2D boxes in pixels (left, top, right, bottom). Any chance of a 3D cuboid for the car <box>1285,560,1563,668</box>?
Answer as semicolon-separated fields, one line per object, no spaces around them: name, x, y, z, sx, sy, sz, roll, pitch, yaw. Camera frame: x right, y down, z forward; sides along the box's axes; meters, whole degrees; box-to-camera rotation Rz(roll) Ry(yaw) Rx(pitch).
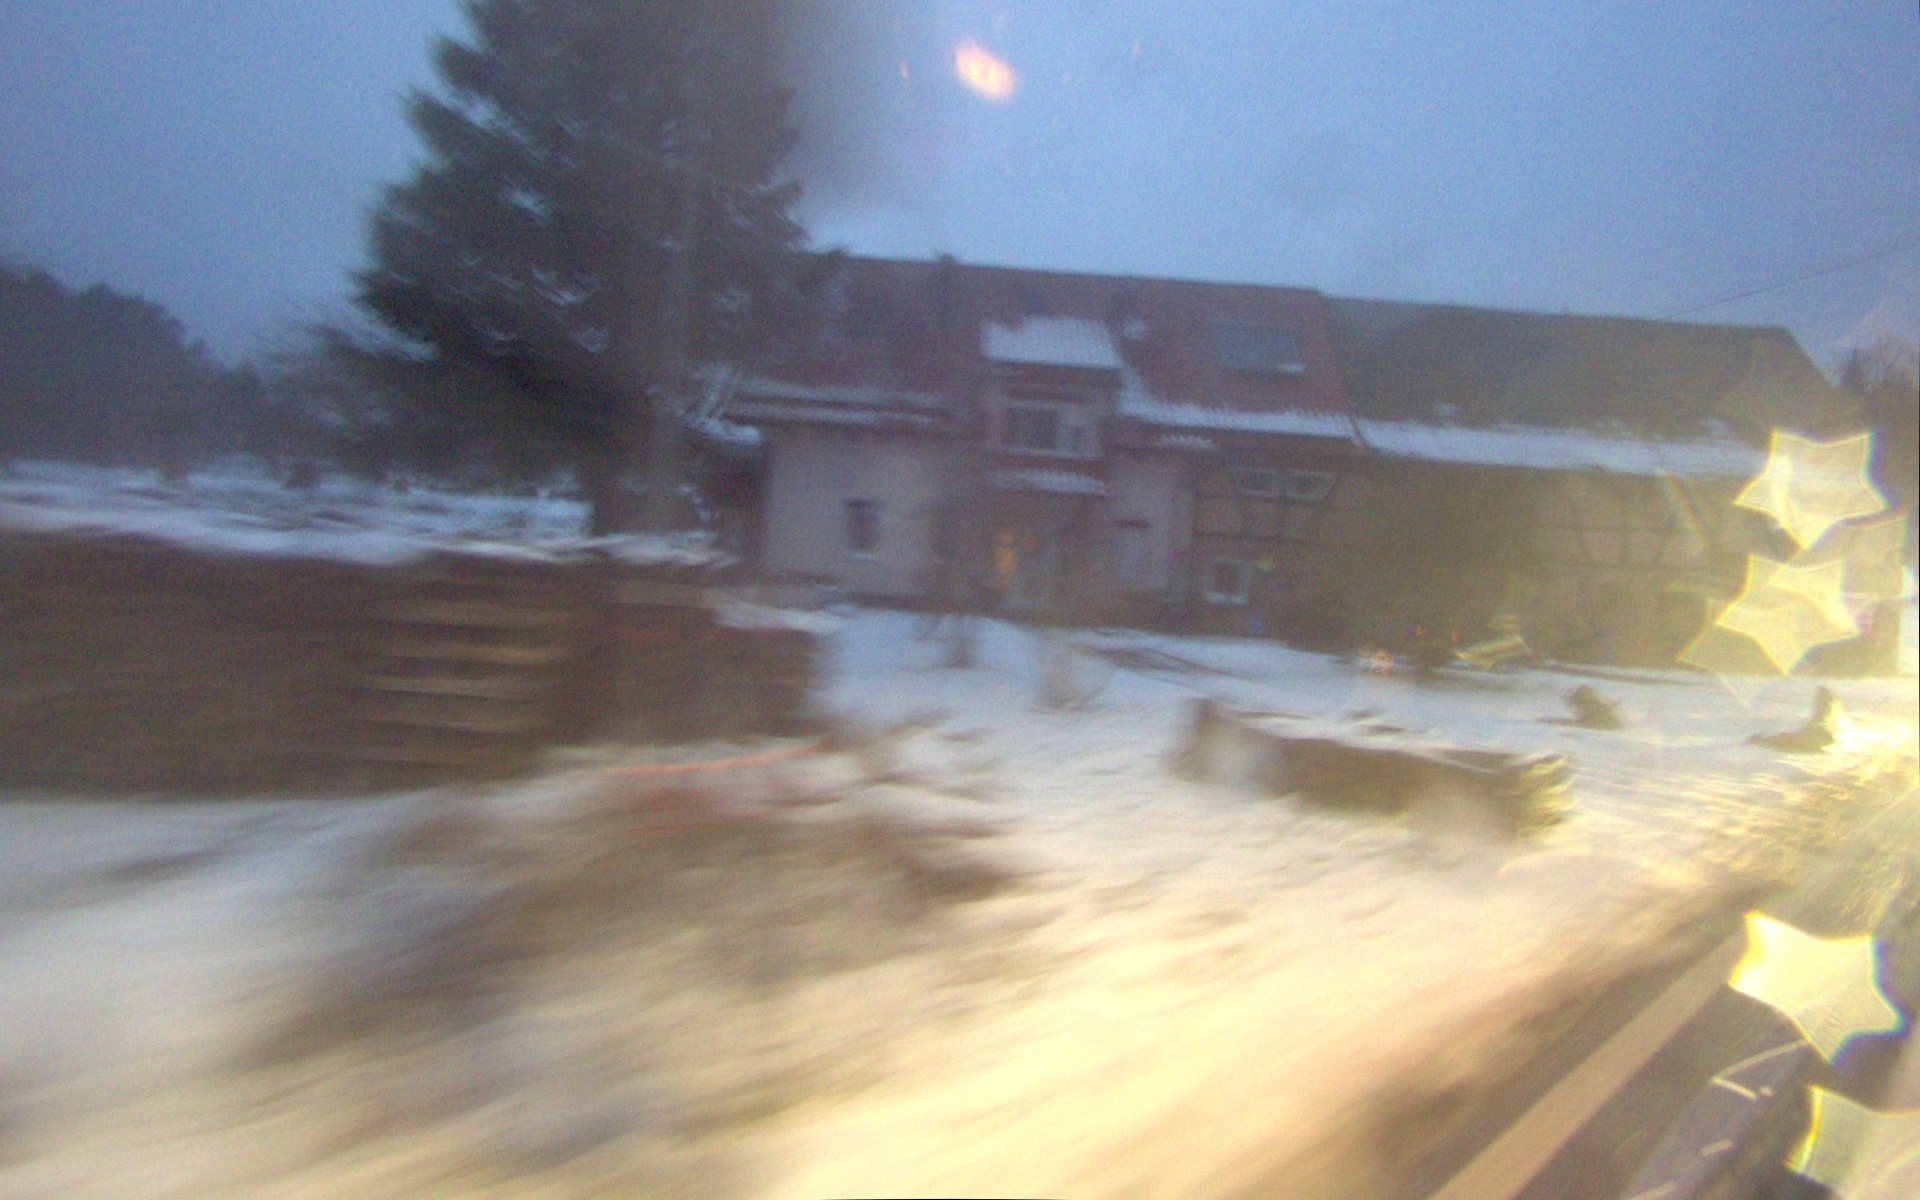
car;8.520;0.172;19.012;1.825;1.677;4.415;1;2;-32
